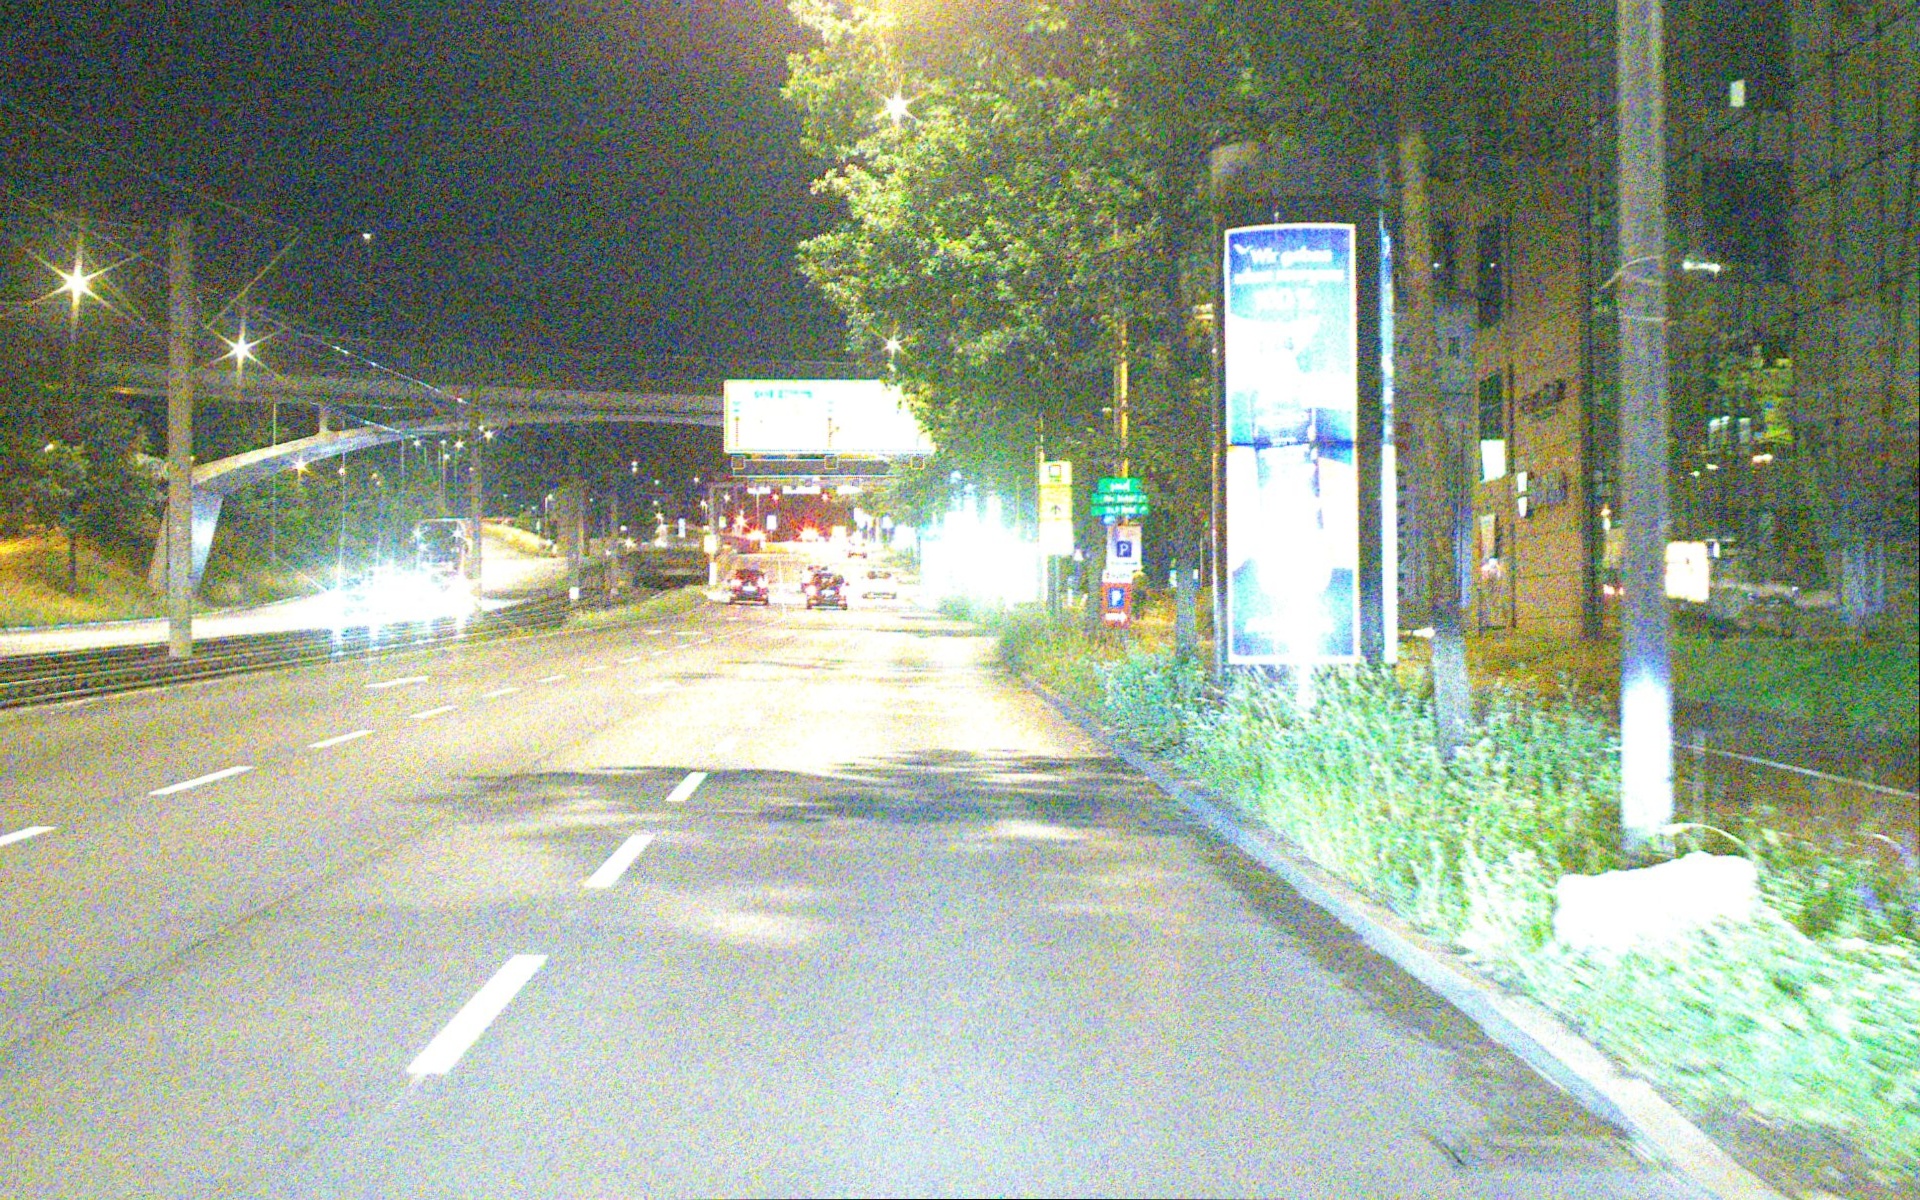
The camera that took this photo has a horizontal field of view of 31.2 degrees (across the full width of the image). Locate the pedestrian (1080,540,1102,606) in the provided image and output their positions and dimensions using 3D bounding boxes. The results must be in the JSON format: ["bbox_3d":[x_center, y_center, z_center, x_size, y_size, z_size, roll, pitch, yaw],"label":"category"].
[{"bbox_3d":[4.861,-1.012,127.230,0.745,2.426,0.779,1,1,2],"label":"pedestrian"}]

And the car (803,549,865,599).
[{"bbox_3d":[-5.508,-1.167,150.800,2.356,2.122,4.826,1,1,2],"label":"car"}]

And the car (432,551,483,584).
[{"bbox_3d":[-23.294,-1.504,159.561,1.910,1.468,3.772,0,1,-2],"label":"car"}]

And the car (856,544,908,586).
[{"bbox_3d":[-4.059,-1.833,180.007,2.427,2.106,4.826,1,1,2],"label":"car"}]

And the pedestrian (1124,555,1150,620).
[{"bbox_3d":[5.634,-0.402,109.596,0.762,2.056,0.643,0,1,-1],"label":"pedestrian"}]

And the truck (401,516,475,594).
[{"bbox_3d":[-26.186,-2.284,172.608,3.041,3.806,4.935,0,1,-1],"label":"truck"}]

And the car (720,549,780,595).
[{"bbox_3d":[-9.577,-1.274,156.984,2.263,2.007,4.826,1,1,2],"label":"car"}]

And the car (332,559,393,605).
[{"bbox_3d":[-23.799,-0.737,136.991,1.863,1.744,3.702,0,1,-2],"label":"car"}]

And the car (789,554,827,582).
[{"bbox_3d":[-8.388,-1.785,190.288,1.993,1.548,4.000,0,1,-1],"label":"car"}]
